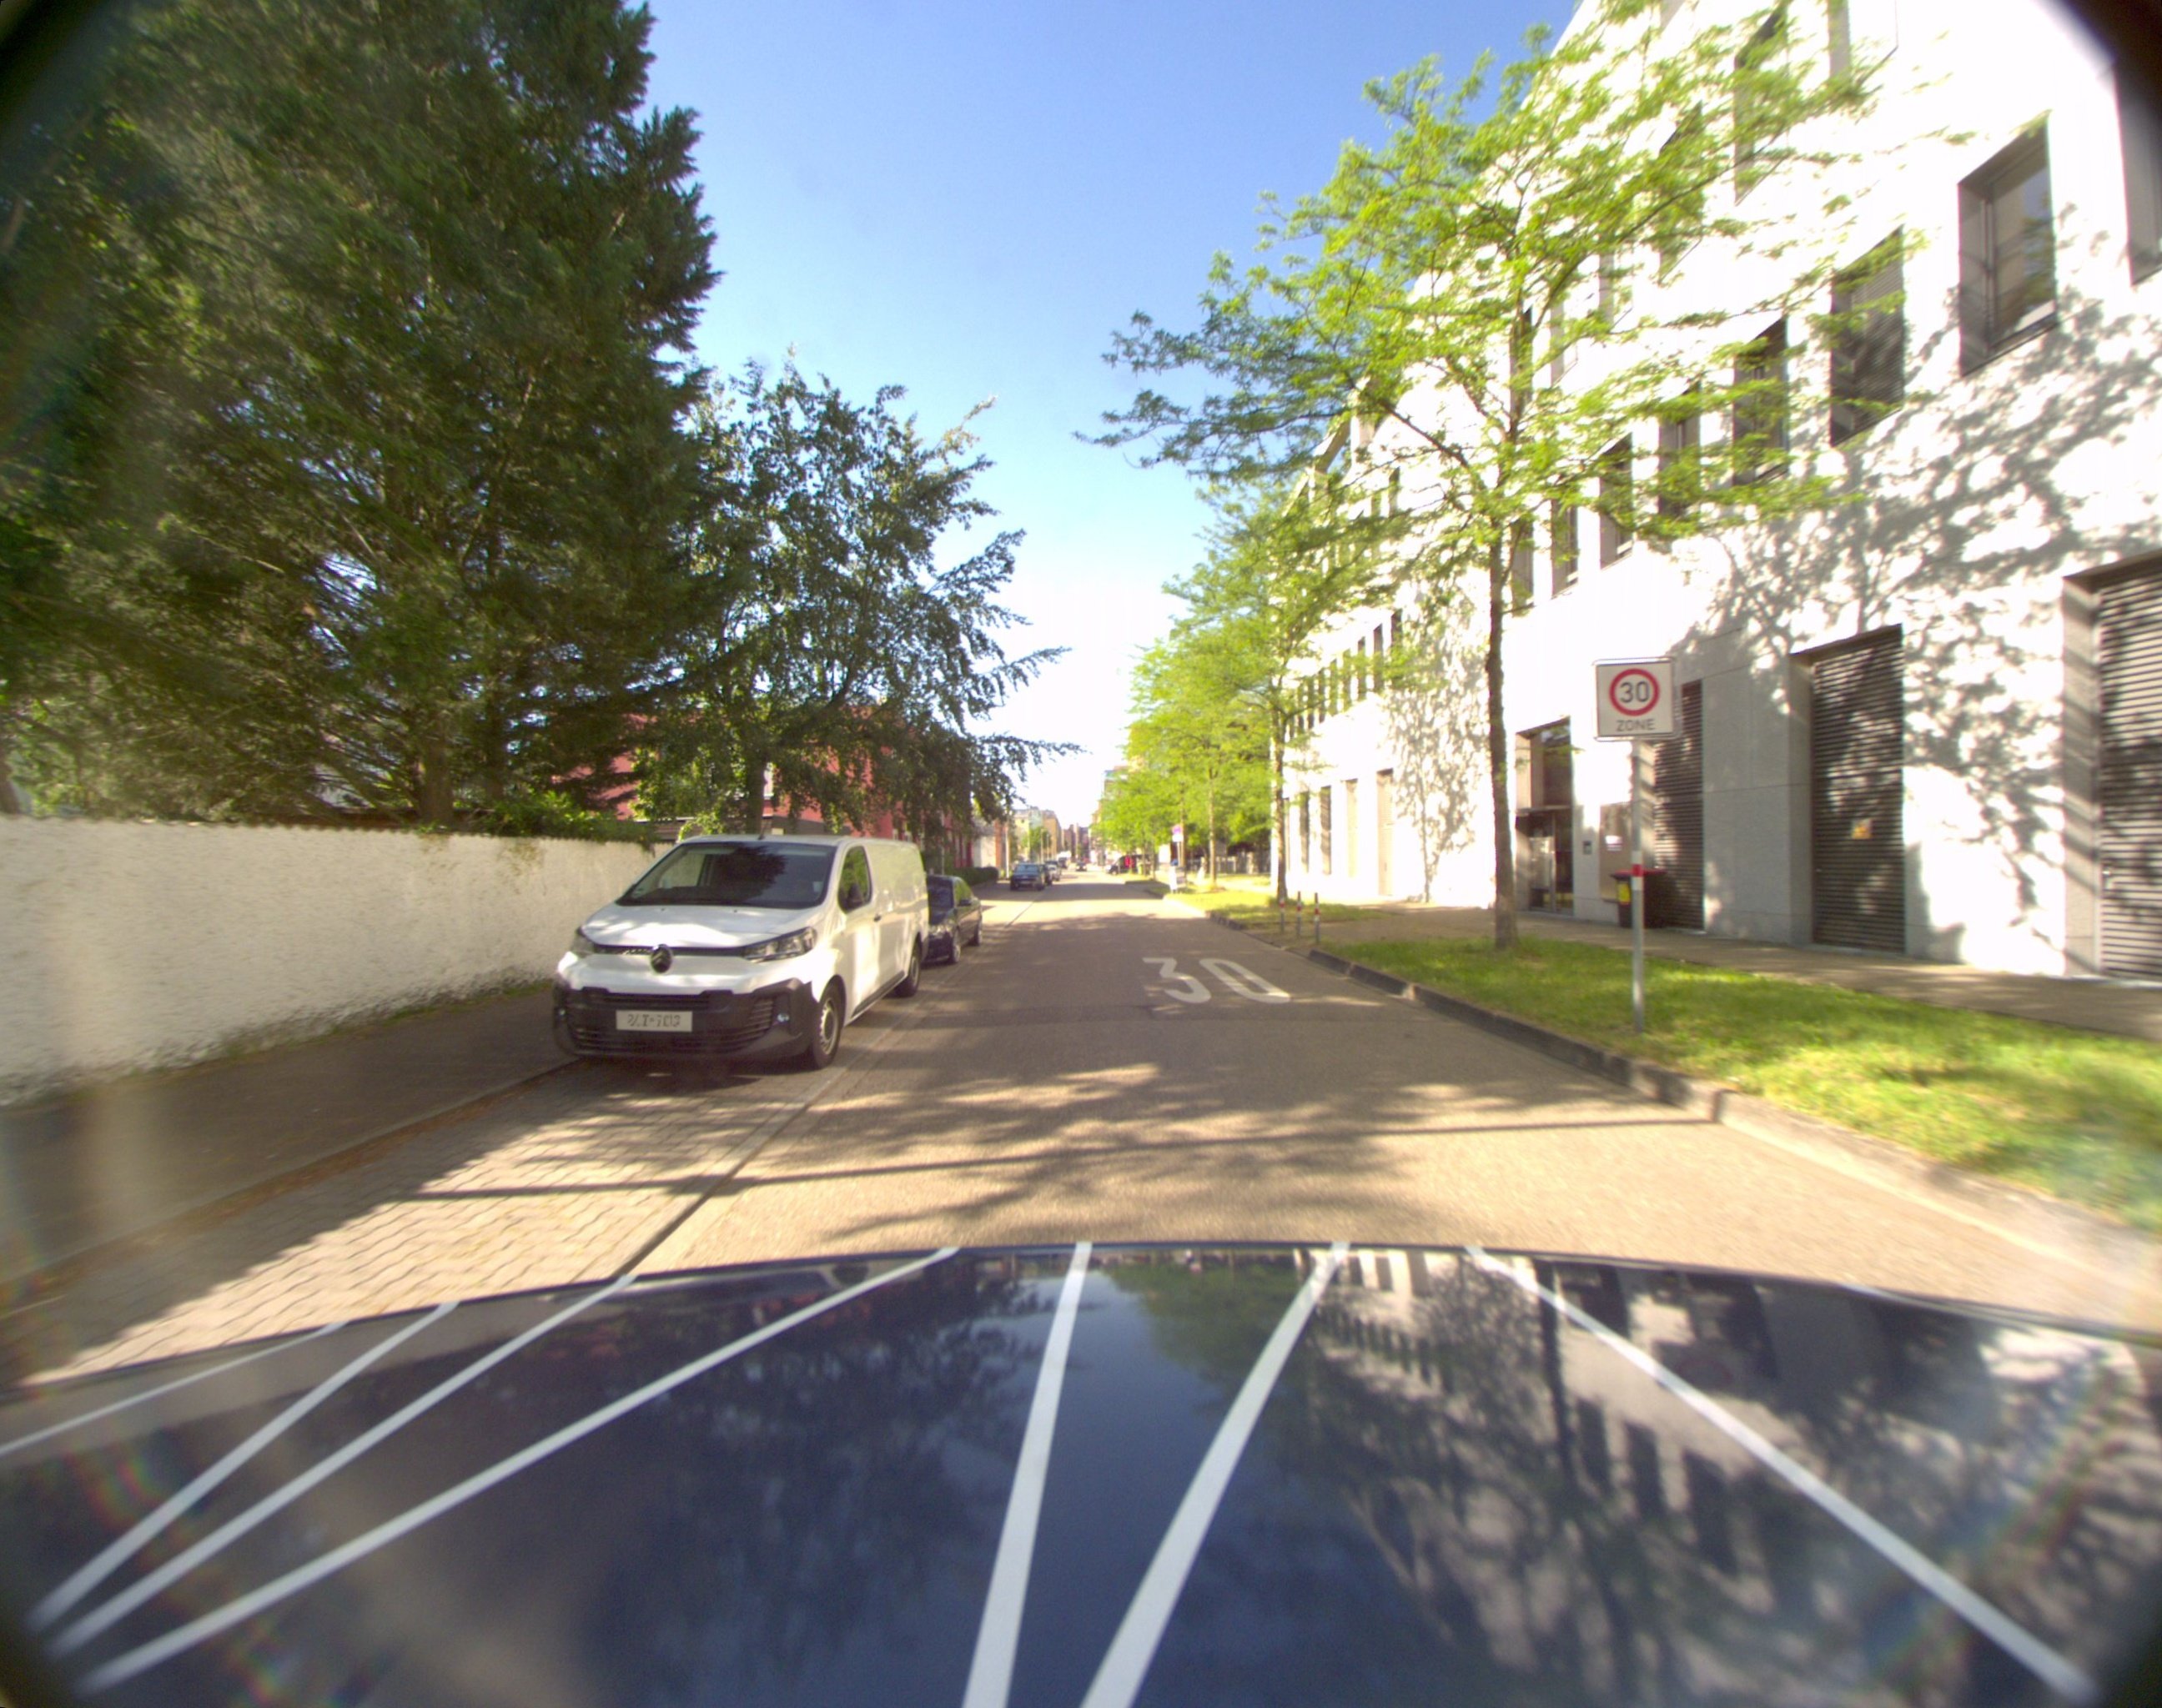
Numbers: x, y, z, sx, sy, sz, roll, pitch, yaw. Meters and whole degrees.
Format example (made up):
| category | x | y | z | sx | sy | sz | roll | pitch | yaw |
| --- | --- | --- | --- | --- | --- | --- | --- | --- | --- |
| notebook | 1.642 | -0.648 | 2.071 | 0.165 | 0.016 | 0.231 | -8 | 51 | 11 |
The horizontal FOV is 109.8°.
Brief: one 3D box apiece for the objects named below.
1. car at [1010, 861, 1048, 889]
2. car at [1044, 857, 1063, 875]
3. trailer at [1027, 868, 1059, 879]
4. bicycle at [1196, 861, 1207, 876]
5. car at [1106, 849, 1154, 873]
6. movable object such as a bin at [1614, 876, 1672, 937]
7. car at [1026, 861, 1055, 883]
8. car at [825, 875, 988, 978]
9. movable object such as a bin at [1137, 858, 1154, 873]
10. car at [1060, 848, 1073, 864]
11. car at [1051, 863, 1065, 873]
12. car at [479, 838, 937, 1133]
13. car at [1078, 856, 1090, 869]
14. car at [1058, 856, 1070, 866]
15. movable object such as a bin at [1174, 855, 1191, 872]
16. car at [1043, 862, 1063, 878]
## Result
| category | x | y | z | sx | sy | sz | roll | pitch | yaw |
| --- | --- | --- | --- | --- | --- | --- | --- | --- | --- |
| car | -3.098 | 1.238 | 46.092 | 1.903 | 1.620 | 4.372 | 0 | 0 | 1 |
| car | -3.150 | 1.344 | 88.132 | 1.903 | 1.974 | 4.372 | 0 | 0 | 1 |
| trailer | -3.391 | 1.720 | 68.430 | 1.563 | 0.922 | 2.987 | 0 | 0 | 27 |
| bicycle | 9.852 | 1.201 | 62.237 | 0.602 | 1.185 | 1.728 | -2 | 0 | 1 |
| car | 5.833 | 0.835 | 91.182 | 5.489 | 2.526 | 1.986 | -3 | 0 | -1 |
| movable object such as a bin | 9.965 | 0.915 | 13.479 | 0.594 | 1.034 | 0.543 | -2 | 0 | -2 |
| car | -3.018 | 1.336 | 57.677 | 1.878 | 1.620 | 4.407 | 0 | 0 | 1 |
| car | -2.851 | 1.142 | 13.401 | 1.830 | 1.415 | 4.283 | 0 | 0 | 1 |
| movable object such as a bin | 6.981 | 1.254 | 82.035 | 1.524 | 1.559 | 1.345 | -2 | 0 | -10 |
| car | -3.499 | 0.401 | 189.548 | 2.913 | 3.920 | 6.326 | 0 | 0 | 2 |
| car | -3.129 | 1.877 | 103.483 | 1.777 | 1.281 | 4.095 | 0 | 0 | 1 |
| car | -2.896 | 0.861 | 7.476 | 1.903 | 1.903 | 5.148 | 0 | 0 | 1 |
| car | 0.477 | 1.319 | 117.571 | 1.903 | 1.974 | 4.372 | 0 | 0 | 1 |
| car | -2.908 | 1.151 | 129.314 | 1.903 | 1.585 | 4.372 | 0 | 0 | 1 |
| movable object such as a bin | 10.107 | 0.940 | 75.797 | 1.522 | 1.559 | 1.347 | -2 | 0 | 5 |
| car | -2.659 | 1.503 | 71.778 | 1.699 | 1.447 | 3.890 | 0 | 0 | 1 |
